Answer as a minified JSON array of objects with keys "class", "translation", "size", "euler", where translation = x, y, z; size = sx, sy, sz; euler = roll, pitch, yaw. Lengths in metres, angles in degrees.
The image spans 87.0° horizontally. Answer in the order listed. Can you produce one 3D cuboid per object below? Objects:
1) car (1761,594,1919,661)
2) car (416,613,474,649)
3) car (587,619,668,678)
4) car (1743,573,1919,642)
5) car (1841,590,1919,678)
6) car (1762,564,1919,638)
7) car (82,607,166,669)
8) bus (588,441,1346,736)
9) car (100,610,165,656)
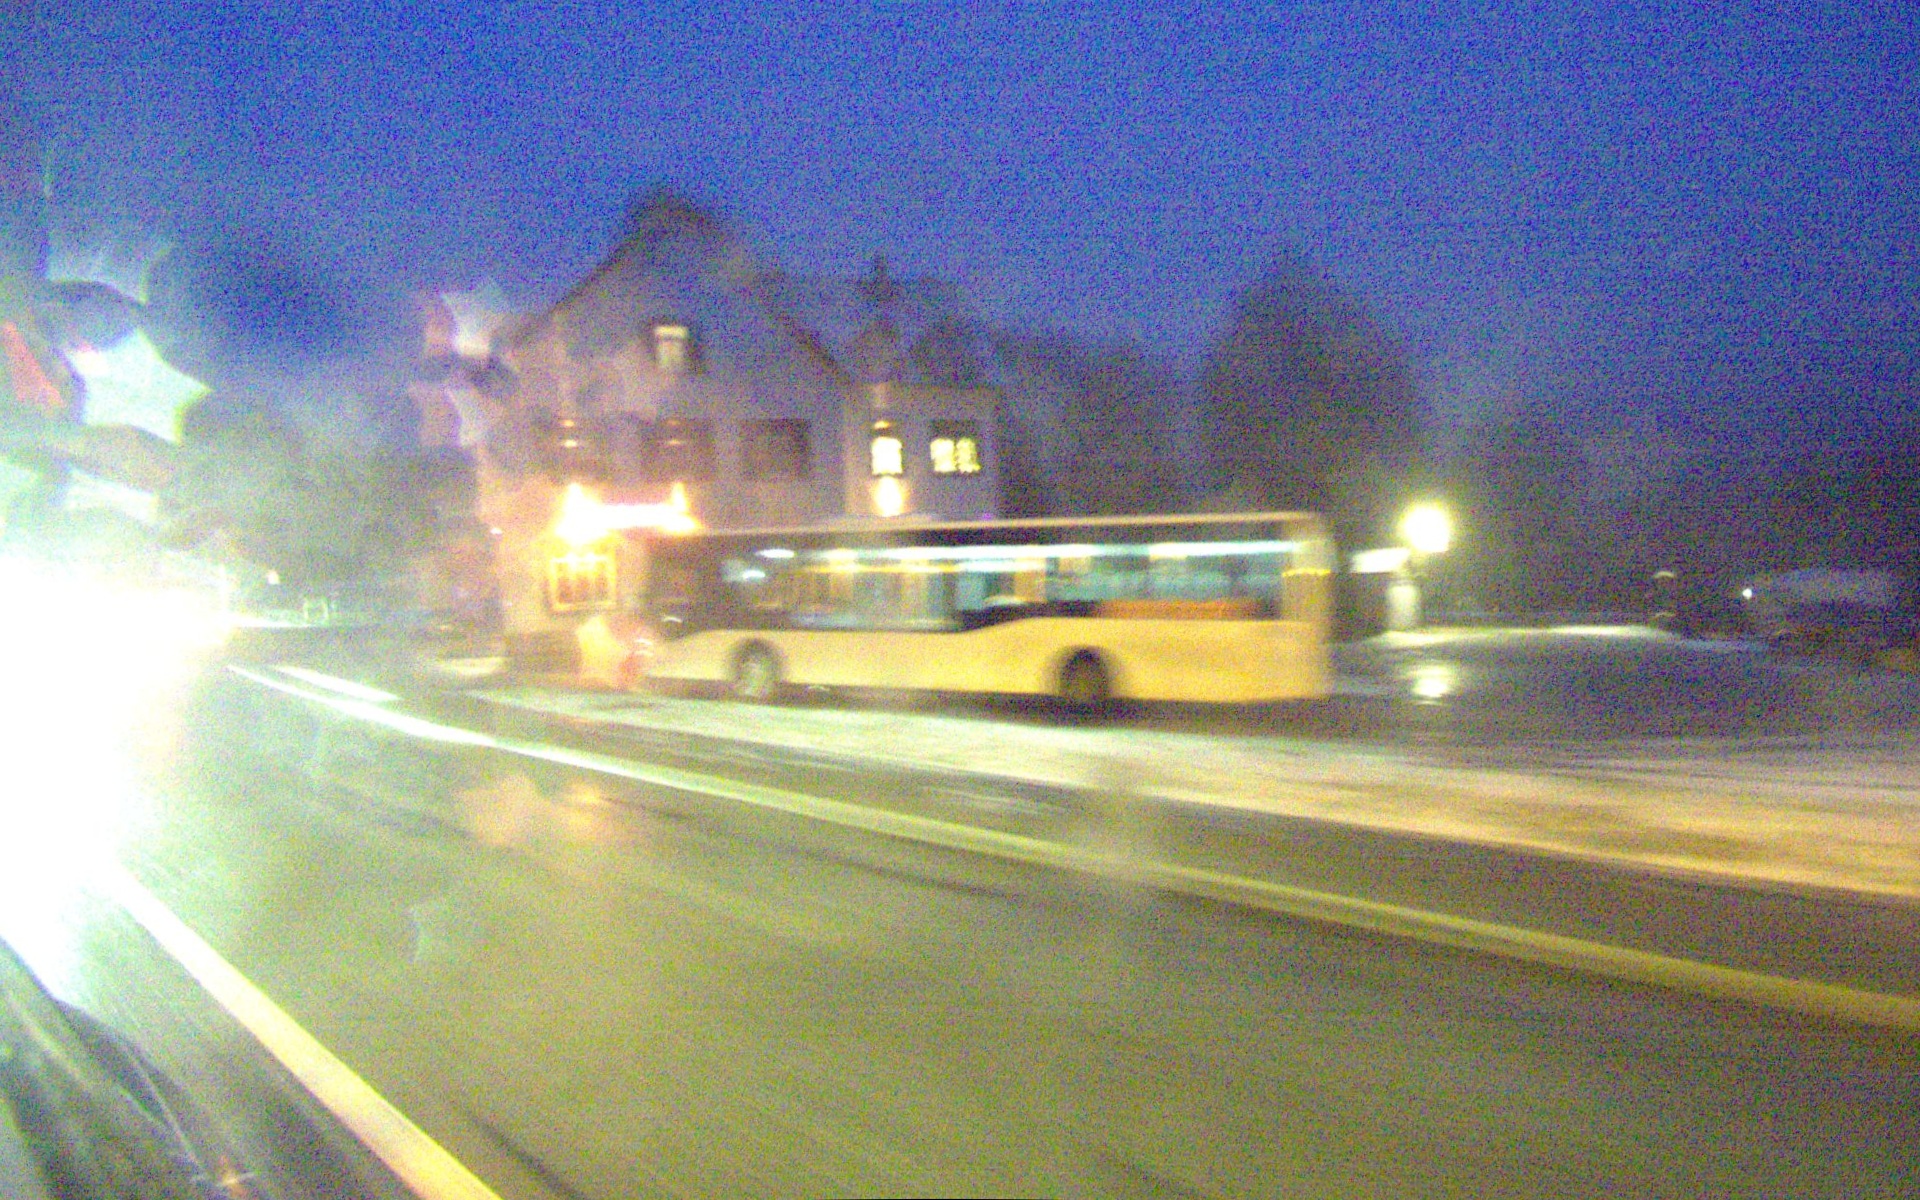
[{"class":"car","translation":[25.023,0.718,27.644],"size":[4.605,1.709,1.925],"euler":[0,2,28]},{"class":"car","translation":[-21.831,1.283,43.054],"size":[1.664,1.408,4.163],"euler":[2,-1,-20]},{"class":"car","translation":[-10.203,1.403,30.844],"size":[1.818,1.386,4.752],"euler":[-2,2,-24]},{"class":"car","translation":[27.773,0.203,32.353],"size":[3.977,2.071,1.750],"euler":[0,2,25]},{"class":"car","translation":[21.021,0.680,20.367],"size":[4.605,1.709,1.925],"euler":[0,2,28]},{"class":"car","translation":[26.674,0.005,30.141],"size":[3.977,2.071,1.984],"euler":[0,2,25]},{"class":"car","translation":[-23.541,1.014,28.449],"size":[1.675,1.611,3.806],"euler":[-1,0,-42]},{"class":"bus","translation":[-0.389,-0.078,17.393],"size":[12.980,3.898,2.879],"euler":[-1,0,24]},{"class":"car","translation":[-29.769,1.148,36.449],"size":[1.690,1.487,3.876],"euler":[-2,1,-39]}]
